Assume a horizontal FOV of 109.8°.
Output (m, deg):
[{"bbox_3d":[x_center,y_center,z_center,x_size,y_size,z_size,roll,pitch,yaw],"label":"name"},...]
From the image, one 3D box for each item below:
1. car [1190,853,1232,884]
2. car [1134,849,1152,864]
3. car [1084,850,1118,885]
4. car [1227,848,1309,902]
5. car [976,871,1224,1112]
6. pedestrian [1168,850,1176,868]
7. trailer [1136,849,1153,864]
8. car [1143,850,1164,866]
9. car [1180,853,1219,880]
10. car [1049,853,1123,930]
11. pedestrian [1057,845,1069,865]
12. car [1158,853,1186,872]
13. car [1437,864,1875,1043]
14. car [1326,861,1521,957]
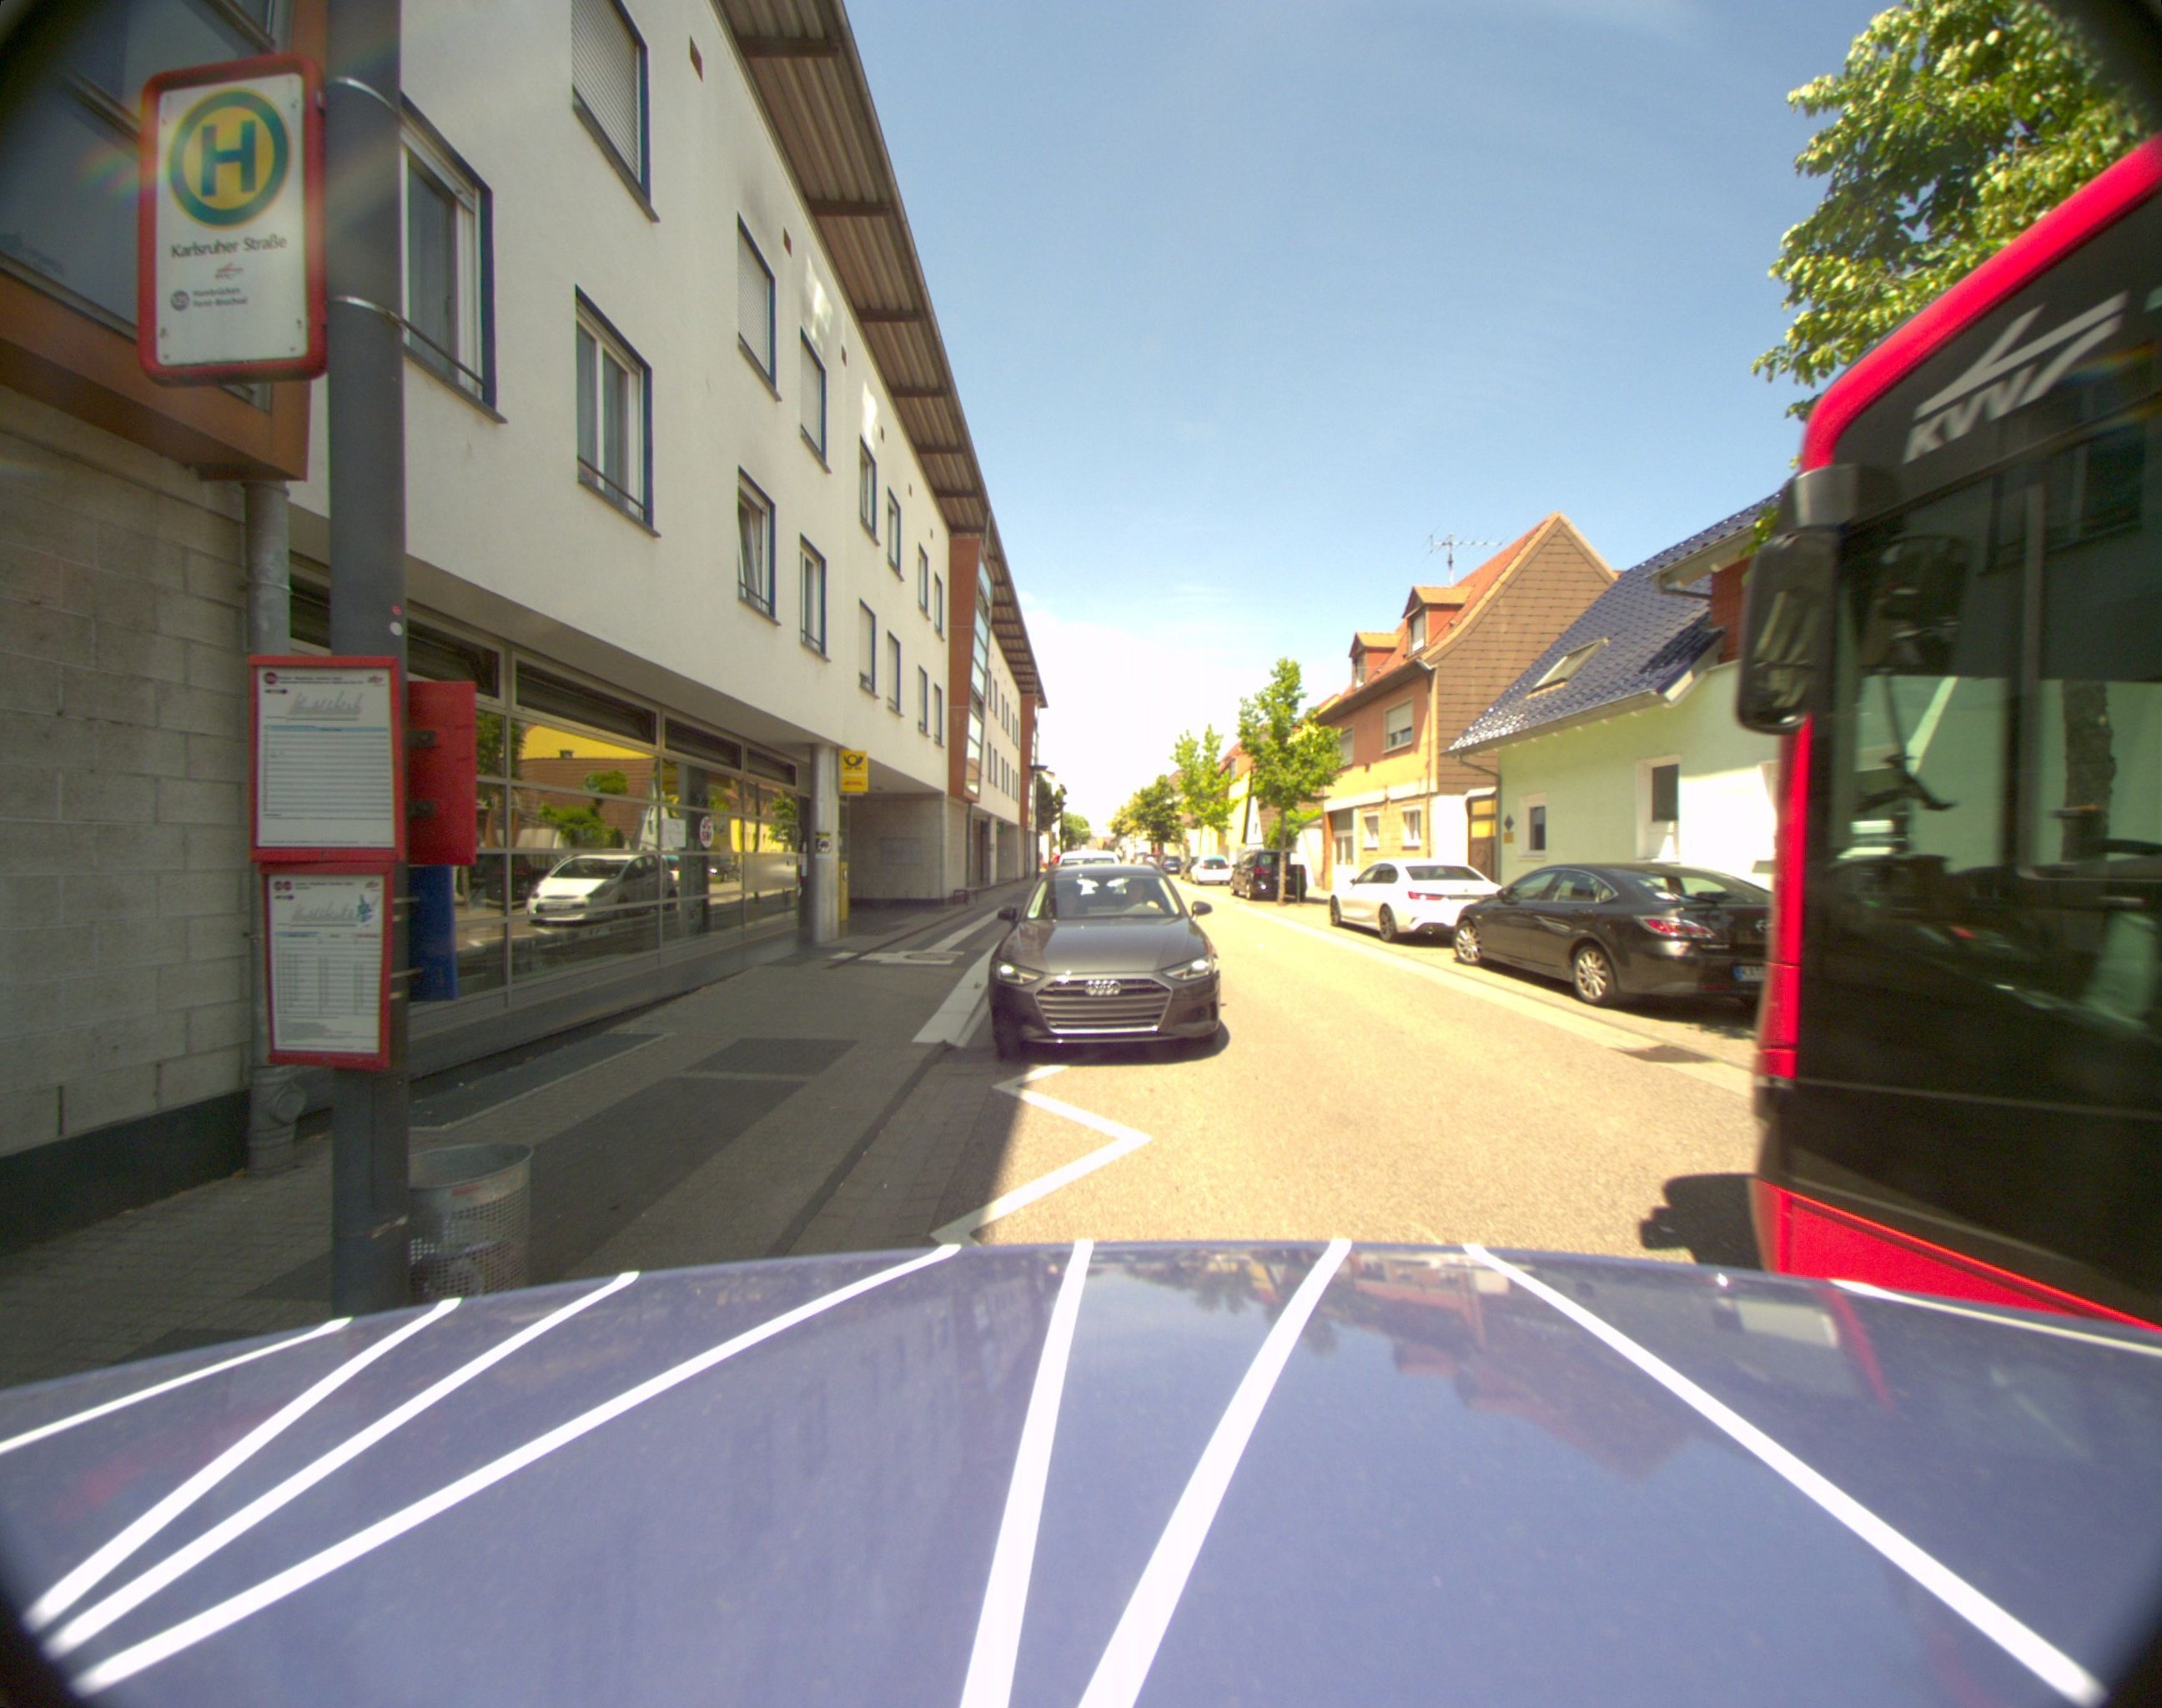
[{"bbox_3d":[6.431,0.693,37.937,1.557,1.422,3.410,1,0,1],"label":"car"},{"bbox_3d":[7.579,0.236,93.252,1.695,1.742,3.999,-2,0,-1],"label":"car"},{"bbox_3d":[0.944,0.630,37.625,1.581,1.620,4.065,1,0,1],"label":"car"},{"bbox_3d":[6.330,0.655,26.231,1.780,1.716,4.519,0,0,1],"label":"car"},{"bbox_3d":[0.154,0.944,6.993,1.581,1.424,4.065,-2,0,1],"label":"car"},{"bbox_3d":[7.846,0.434,65.325,0.631,1.592,0.528,0,1,1],"label":"pedestrian"},{"bbox_3d":[7.379,0.283,88.946,1.493,1.571,3.883,-3,0,-1],"label":"trailer"},{"bbox_3d":[7.256,0.369,76.433,1.753,1.566,4.158,0,0,1],"label":"car"},{"bbox_3d":[6.835,0.678,44.137,1.649,1.422,4.098,1,0,1],"label":"car"},{"bbox_3d":[0.128,0.792,18.322,1.581,1.620,4.065,1,0,1],"label":"car"},{"bbox_3d":[-1.490,0.061,63.559,0.825,1.579,0.919,3,1,1],"label":"pedestrian"},{"bbox_3d":[6.758,0.610,56.920,1.660,1.399,4.158,0,0,1],"label":"car"},{"bbox_3d":[5.924,0.870,8.701,1.664,1.428,4.538,0,0,2],"label":"car"},{"bbox_3d":[6.084,0.876,14.131,1.724,1.428,4.459,-1,0,2],"label":"car"}]
